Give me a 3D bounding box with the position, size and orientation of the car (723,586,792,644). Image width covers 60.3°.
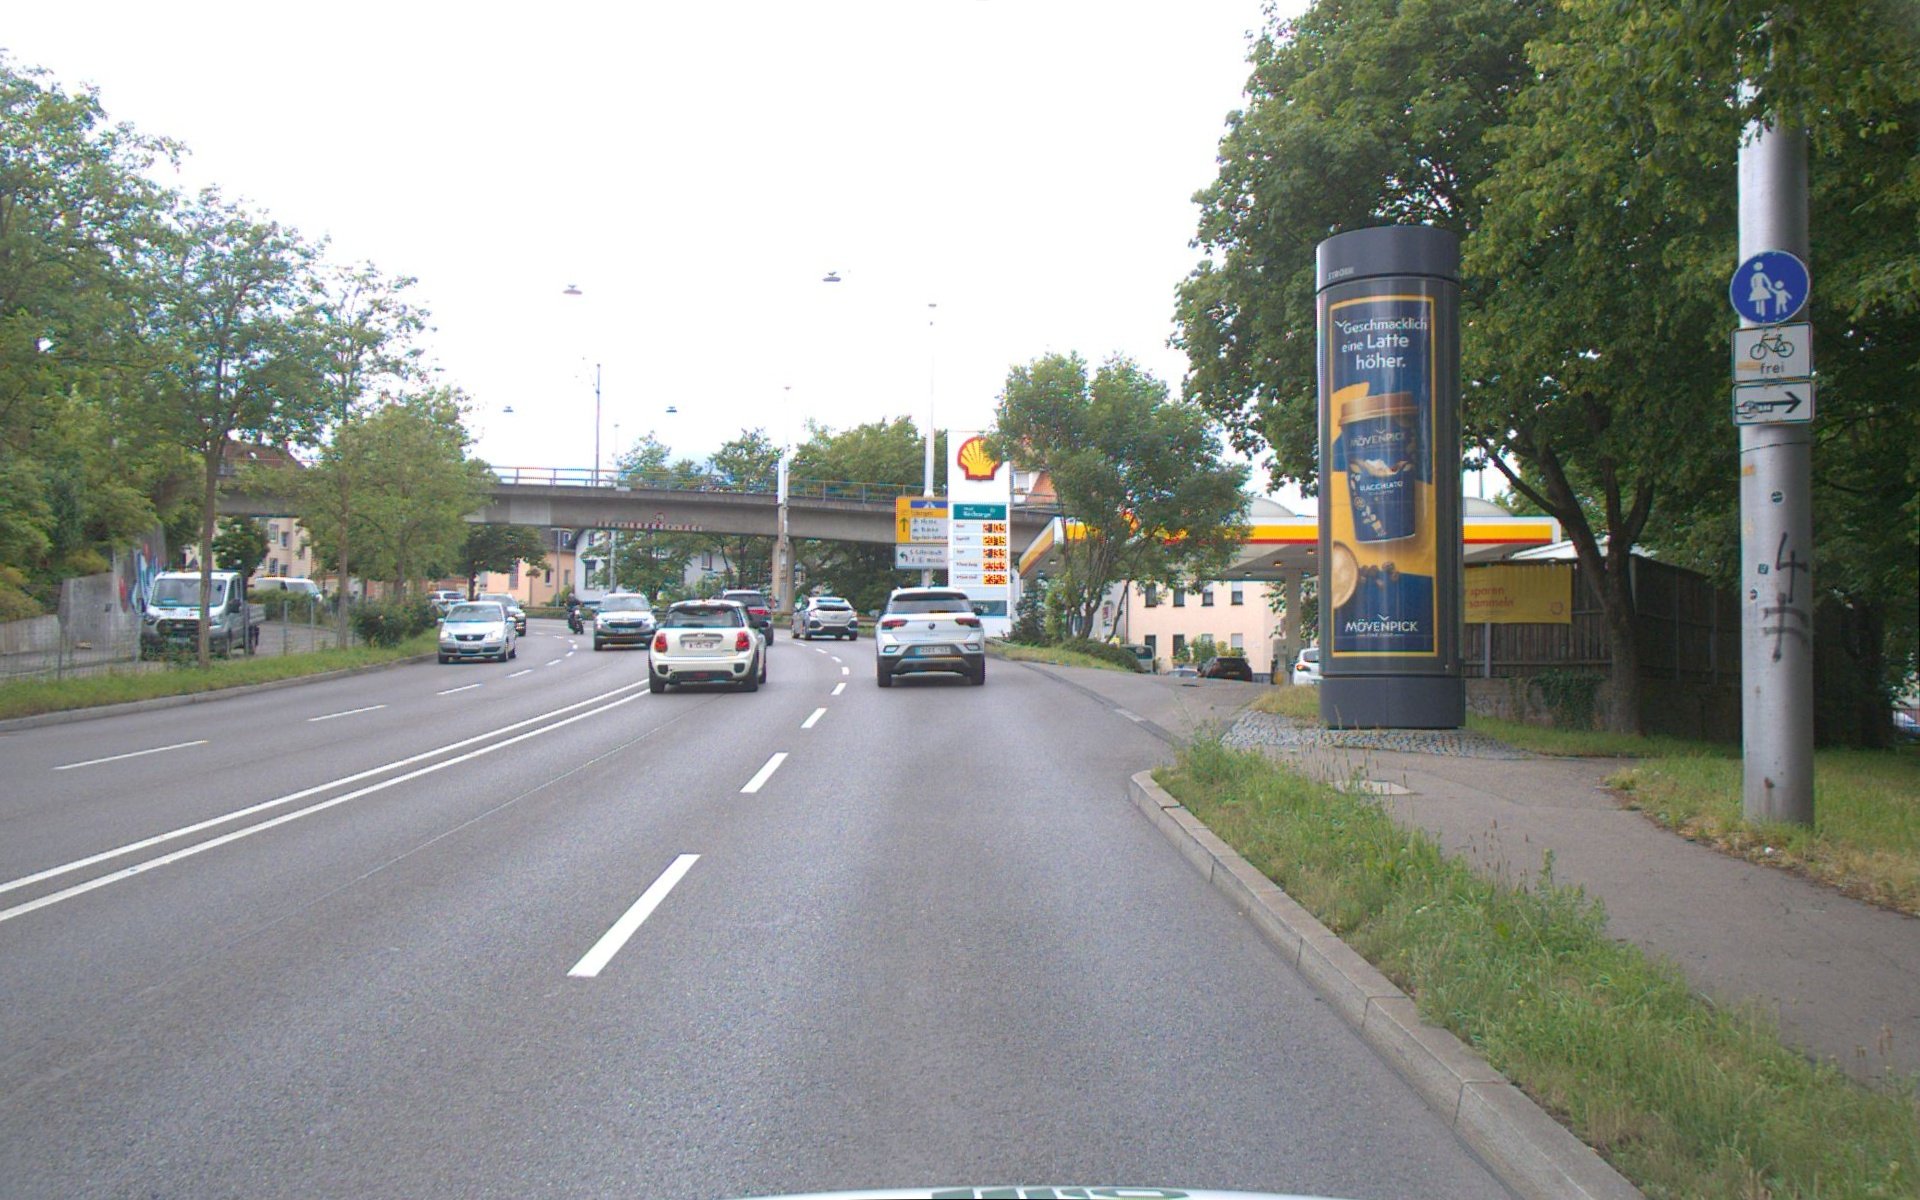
[{"bbox_3d":[-6.111,0.443,50.113,1.687,1.668,3.456,1,0,-1],"label":"car"}]

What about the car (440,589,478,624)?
[{"bbox_3d":[-29.497,0.368,97.277,1.870,1.971,3.975,0,0,-21],"label":"car"}]

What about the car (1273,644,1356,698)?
[{"bbox_3d":[10.601,2.163,49.752,1.699,1.512,3.877,-1,-4,1],"label":"car"}]

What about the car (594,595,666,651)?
[{"bbox_3d":[-9.712,0.653,48.939,1.751,1.565,4.069,0,0,-7],"label":"car"}]

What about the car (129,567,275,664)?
[{"bbox_3d":[-19.581,0.382,43.031,2.229,2.313,6.304,0,0,-13],"label":"car"}]

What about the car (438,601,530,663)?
[{"bbox_3d":[-11.842,0.754,41.343,1.535,1.456,3.886,1,0,-6],"label":"car"}]

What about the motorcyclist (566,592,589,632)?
[{"bbox_3d":[-15.327,0.489,66.241,0.789,1.583,0.994,0,0,-21],"label":"motorcyclist"}]

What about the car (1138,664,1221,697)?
[{"bbox_3d":[12.165,4.460,91.808,4.207,1.548,1.622,2,-3,27],"label":"car"}]

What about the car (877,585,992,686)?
[{"bbox_3d":[-0.418,0.551,27.374,1.760,1.545,3.456,1,0,-1],"label":"car"}]

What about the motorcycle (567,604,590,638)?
[{"bbox_3d":[-15.330,0.817,66.383,0.582,1.327,2.442,0,0,-20],"label":"motorcycle"}]

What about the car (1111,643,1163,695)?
[{"bbox_3d":[7.308,2.913,68.774,1.699,2.046,4.712,-1,-4,1],"label":"car"}]

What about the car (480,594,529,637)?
[{"bbox_3d":[-18.028,0.608,65.350,1.757,1.603,4.447,-1,0,-17],"label":"car"}]

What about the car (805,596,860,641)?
[{"bbox_3d":[-4.288,0.611,55.356,1.644,1.433,3.450,1,0,-8],"label":"car"}]

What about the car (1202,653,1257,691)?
[{"bbox_3d":[11.323,3.052,69.704,1.699,1.512,3.877,-1,-4,1],"label":"car"}]

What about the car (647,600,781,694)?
[{"bbox_3d":[-3.921,0.721,26.871,1.687,1.400,3.456,1,0,-1],"label":"car"}]
